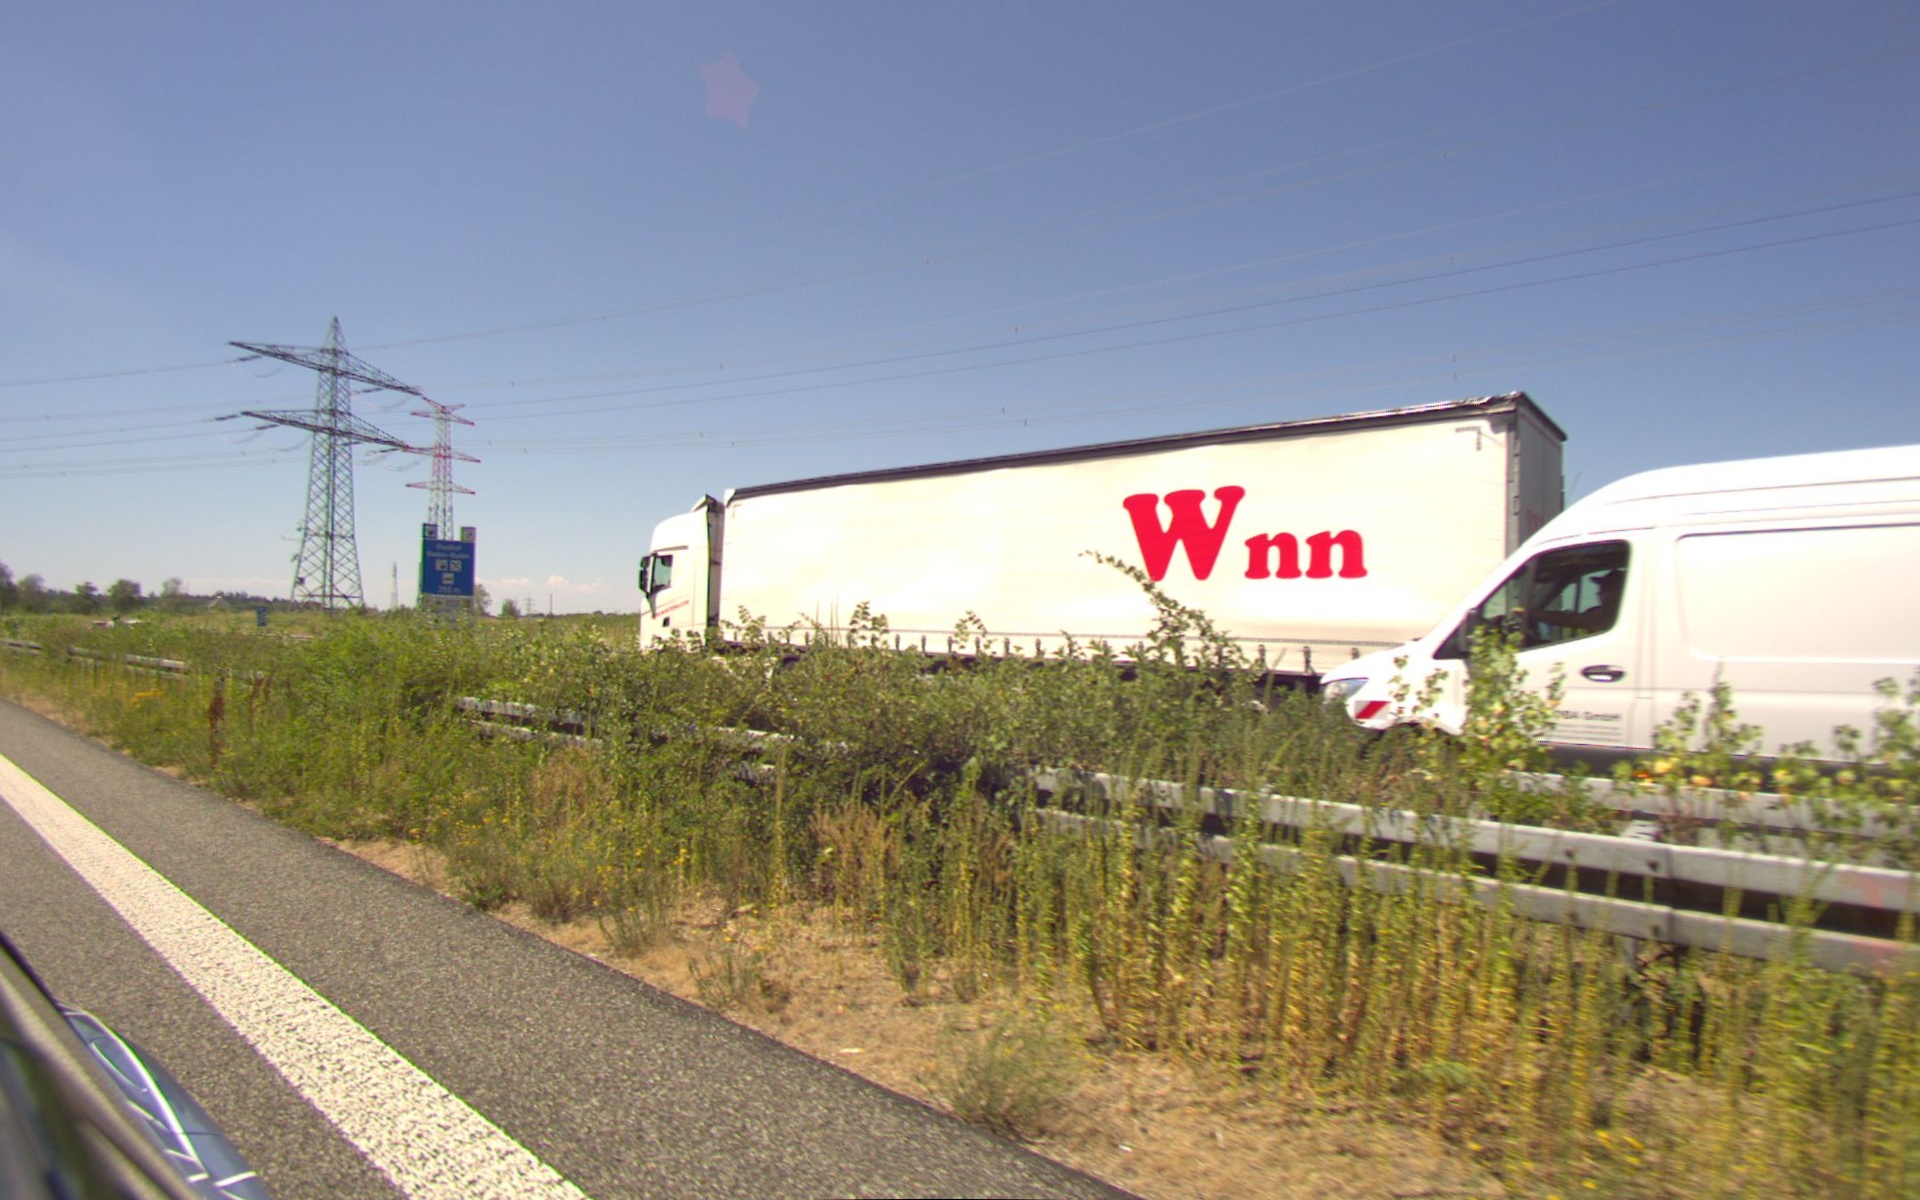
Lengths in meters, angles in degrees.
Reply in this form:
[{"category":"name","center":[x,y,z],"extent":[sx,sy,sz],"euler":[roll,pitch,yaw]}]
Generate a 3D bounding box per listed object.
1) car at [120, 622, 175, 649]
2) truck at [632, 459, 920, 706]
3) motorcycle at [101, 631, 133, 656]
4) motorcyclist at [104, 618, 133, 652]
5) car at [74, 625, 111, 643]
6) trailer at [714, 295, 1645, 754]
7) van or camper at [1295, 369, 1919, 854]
[{"category":"car","center":[-46.885,2.030,58.367],"extent":[3.998,1.491,1.793],"euler":[-1,-3,41]},{"category":"truck","center":[-3.760,-0.251,20.059],"extent":[5.567,4.190,2.776],"euler":[-1,-1,41]},{"category":"motorcycle","center":[-34.169,1.743,41.030],"extent":[1.845,0.979,0.691],"euler":[-1,-3,41]},{"category":"motorcyclist","center":[-33.964,1.417,40.827],"extent":[1.013,1.357,0.700],"euler":[-1,-3,40]},{"category":"car","center":[-72.171,2.845,84.185],"extent":[4.266,1.445,1.578],"euler":[-1,-3,39]},{"category":"trailer","center":[1.656,-0.623,15.358],"extent":[14.231,4.382,2.741],"euler":[-1,-1,41]},{"category":"van or camper","center":[5.562,0.073,6.374],"extent":[6.281,2.602,1.973],"euler":[-1,-1,40]}]
